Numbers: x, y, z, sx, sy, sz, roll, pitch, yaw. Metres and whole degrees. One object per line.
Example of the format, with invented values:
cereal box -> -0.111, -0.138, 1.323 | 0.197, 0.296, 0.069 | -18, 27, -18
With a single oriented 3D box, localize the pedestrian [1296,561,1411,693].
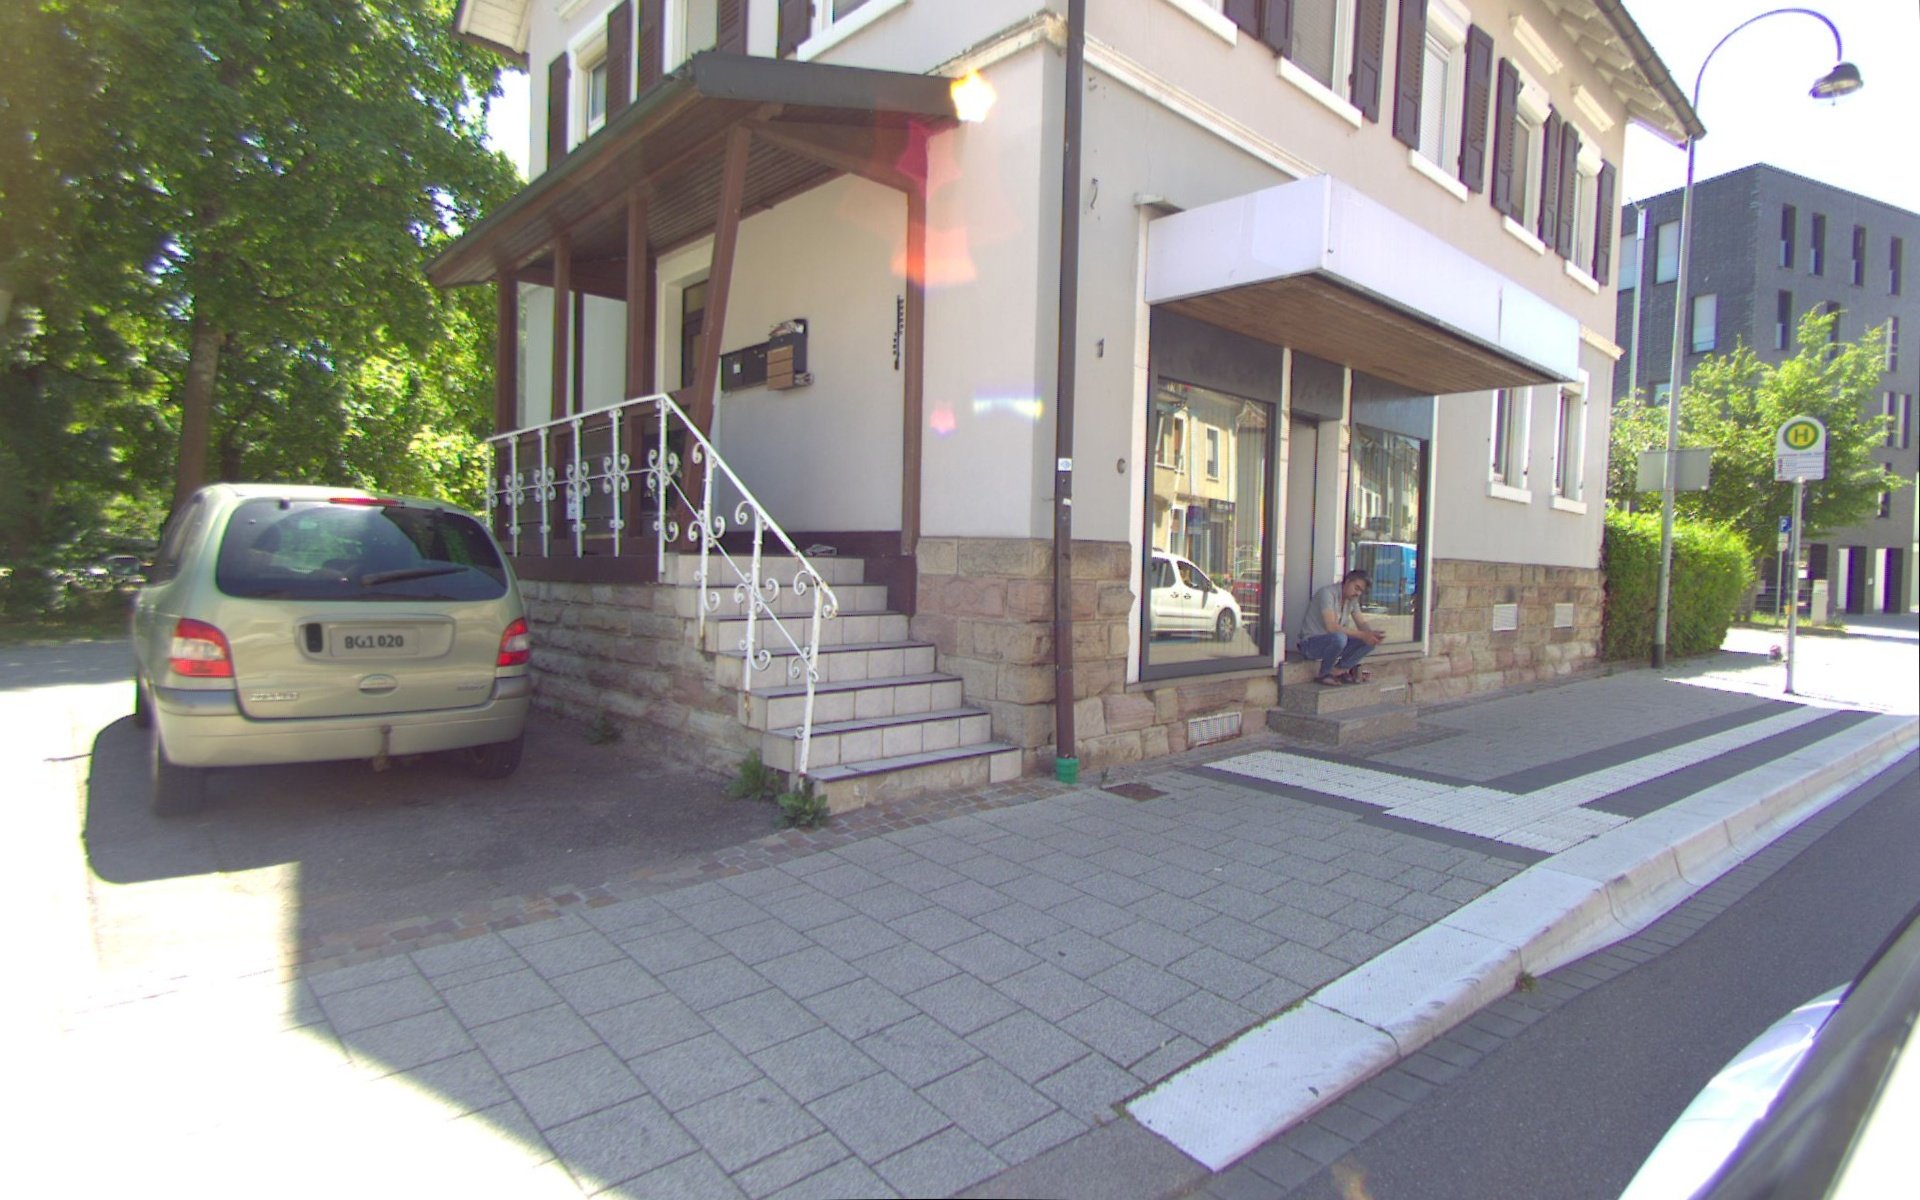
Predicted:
pedestrian -> 3.252, 0.201, 8.357 | 0.712, 1.011, 0.591 | 0, 4, -43

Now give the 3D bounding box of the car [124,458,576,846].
car -> -4.031, 0.059, 6.319 | 1.770, 1.614, 4.071 | 0, 4, -41

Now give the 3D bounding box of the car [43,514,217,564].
car -> -42.464, -3.096, 51.939 | 6.623, 2.266, 2.199 | 1, 2, -12
